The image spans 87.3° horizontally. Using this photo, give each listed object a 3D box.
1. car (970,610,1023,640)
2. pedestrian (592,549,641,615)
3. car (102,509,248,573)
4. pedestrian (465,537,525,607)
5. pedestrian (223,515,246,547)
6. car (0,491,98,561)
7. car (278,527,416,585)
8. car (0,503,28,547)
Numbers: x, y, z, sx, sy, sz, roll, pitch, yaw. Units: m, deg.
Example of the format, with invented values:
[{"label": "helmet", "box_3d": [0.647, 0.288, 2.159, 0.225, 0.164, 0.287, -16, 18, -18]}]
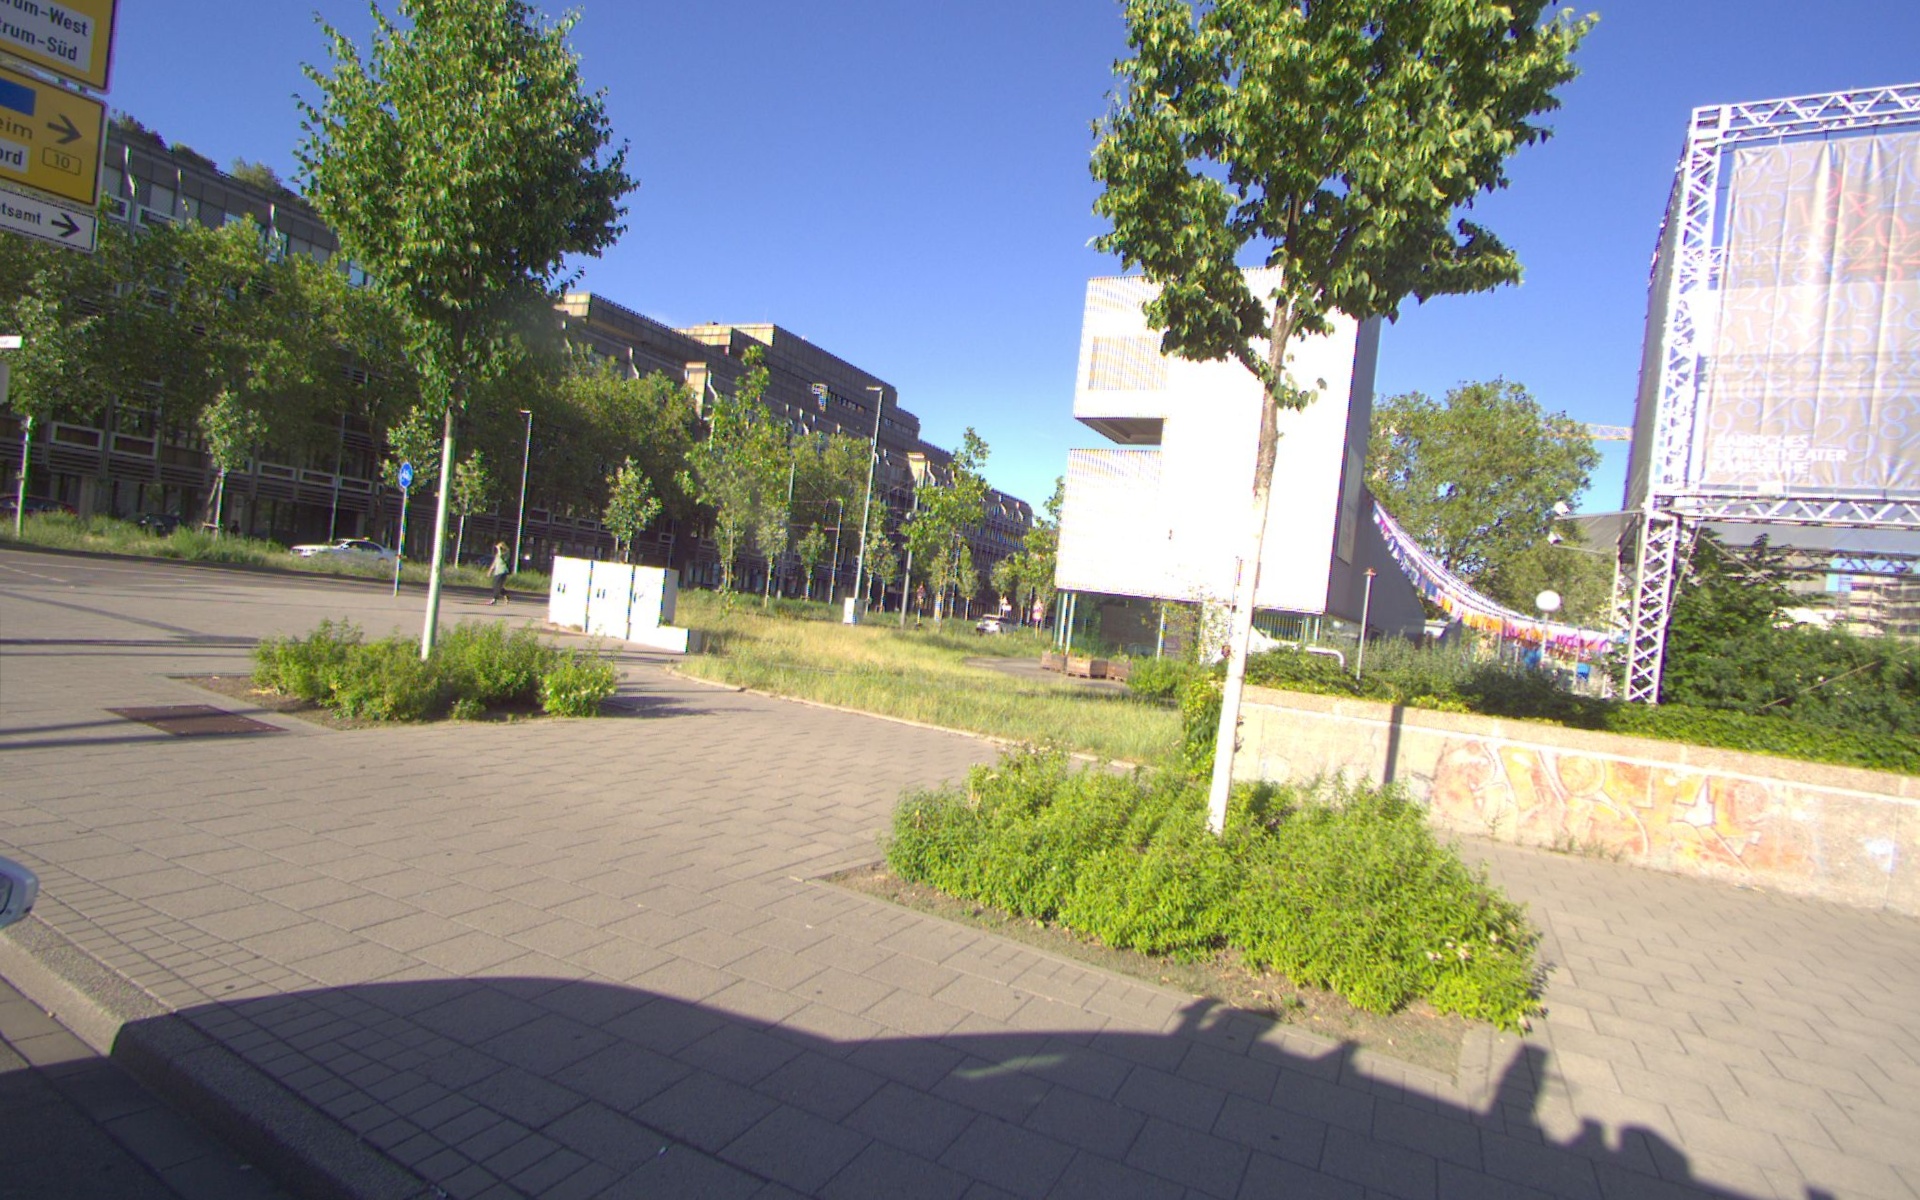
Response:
[{"label": "car", "box_3d": [2.611, 1.772, 71.067, 1.964, 1.680, 4.403, 8, 0, 25]}, {"label": "pedestrian", "box_3d": [-9.715, -0.499, 28.462, 0.925, 1.750, 0.695, 7, 1, 18]}, {"label": "car", "box_3d": [-34.118, -2.530, 43.878, 1.965, 2.036, 4.458, 7, -2, 27]}, {"label": "pedestrian", "box_3d": [-11.849, -0.699, 25.651, 0.925, 1.650, 0.803, 7, 1, 18]}, {"label": "pedestrian", "box_3d": [-41.693, -3.958, 57.794, 0.728, 1.678, 0.665, 7, 1, 25]}, {"label": "car", "box_3d": [-33.320, -2.712, 35.371, 1.966, 2.037, 3.997, 6, -2, 29]}, {"label": "car", "box_3d": [-30.682, -2.183, 50.581, 2.062, 2.036, 5.455, 6, -2, 29]}, {"label": "car", "box_3d": [-37.250, -3.044, 36.941, 1.836, 1.525, 3.997, 7, -2, 29]}]
